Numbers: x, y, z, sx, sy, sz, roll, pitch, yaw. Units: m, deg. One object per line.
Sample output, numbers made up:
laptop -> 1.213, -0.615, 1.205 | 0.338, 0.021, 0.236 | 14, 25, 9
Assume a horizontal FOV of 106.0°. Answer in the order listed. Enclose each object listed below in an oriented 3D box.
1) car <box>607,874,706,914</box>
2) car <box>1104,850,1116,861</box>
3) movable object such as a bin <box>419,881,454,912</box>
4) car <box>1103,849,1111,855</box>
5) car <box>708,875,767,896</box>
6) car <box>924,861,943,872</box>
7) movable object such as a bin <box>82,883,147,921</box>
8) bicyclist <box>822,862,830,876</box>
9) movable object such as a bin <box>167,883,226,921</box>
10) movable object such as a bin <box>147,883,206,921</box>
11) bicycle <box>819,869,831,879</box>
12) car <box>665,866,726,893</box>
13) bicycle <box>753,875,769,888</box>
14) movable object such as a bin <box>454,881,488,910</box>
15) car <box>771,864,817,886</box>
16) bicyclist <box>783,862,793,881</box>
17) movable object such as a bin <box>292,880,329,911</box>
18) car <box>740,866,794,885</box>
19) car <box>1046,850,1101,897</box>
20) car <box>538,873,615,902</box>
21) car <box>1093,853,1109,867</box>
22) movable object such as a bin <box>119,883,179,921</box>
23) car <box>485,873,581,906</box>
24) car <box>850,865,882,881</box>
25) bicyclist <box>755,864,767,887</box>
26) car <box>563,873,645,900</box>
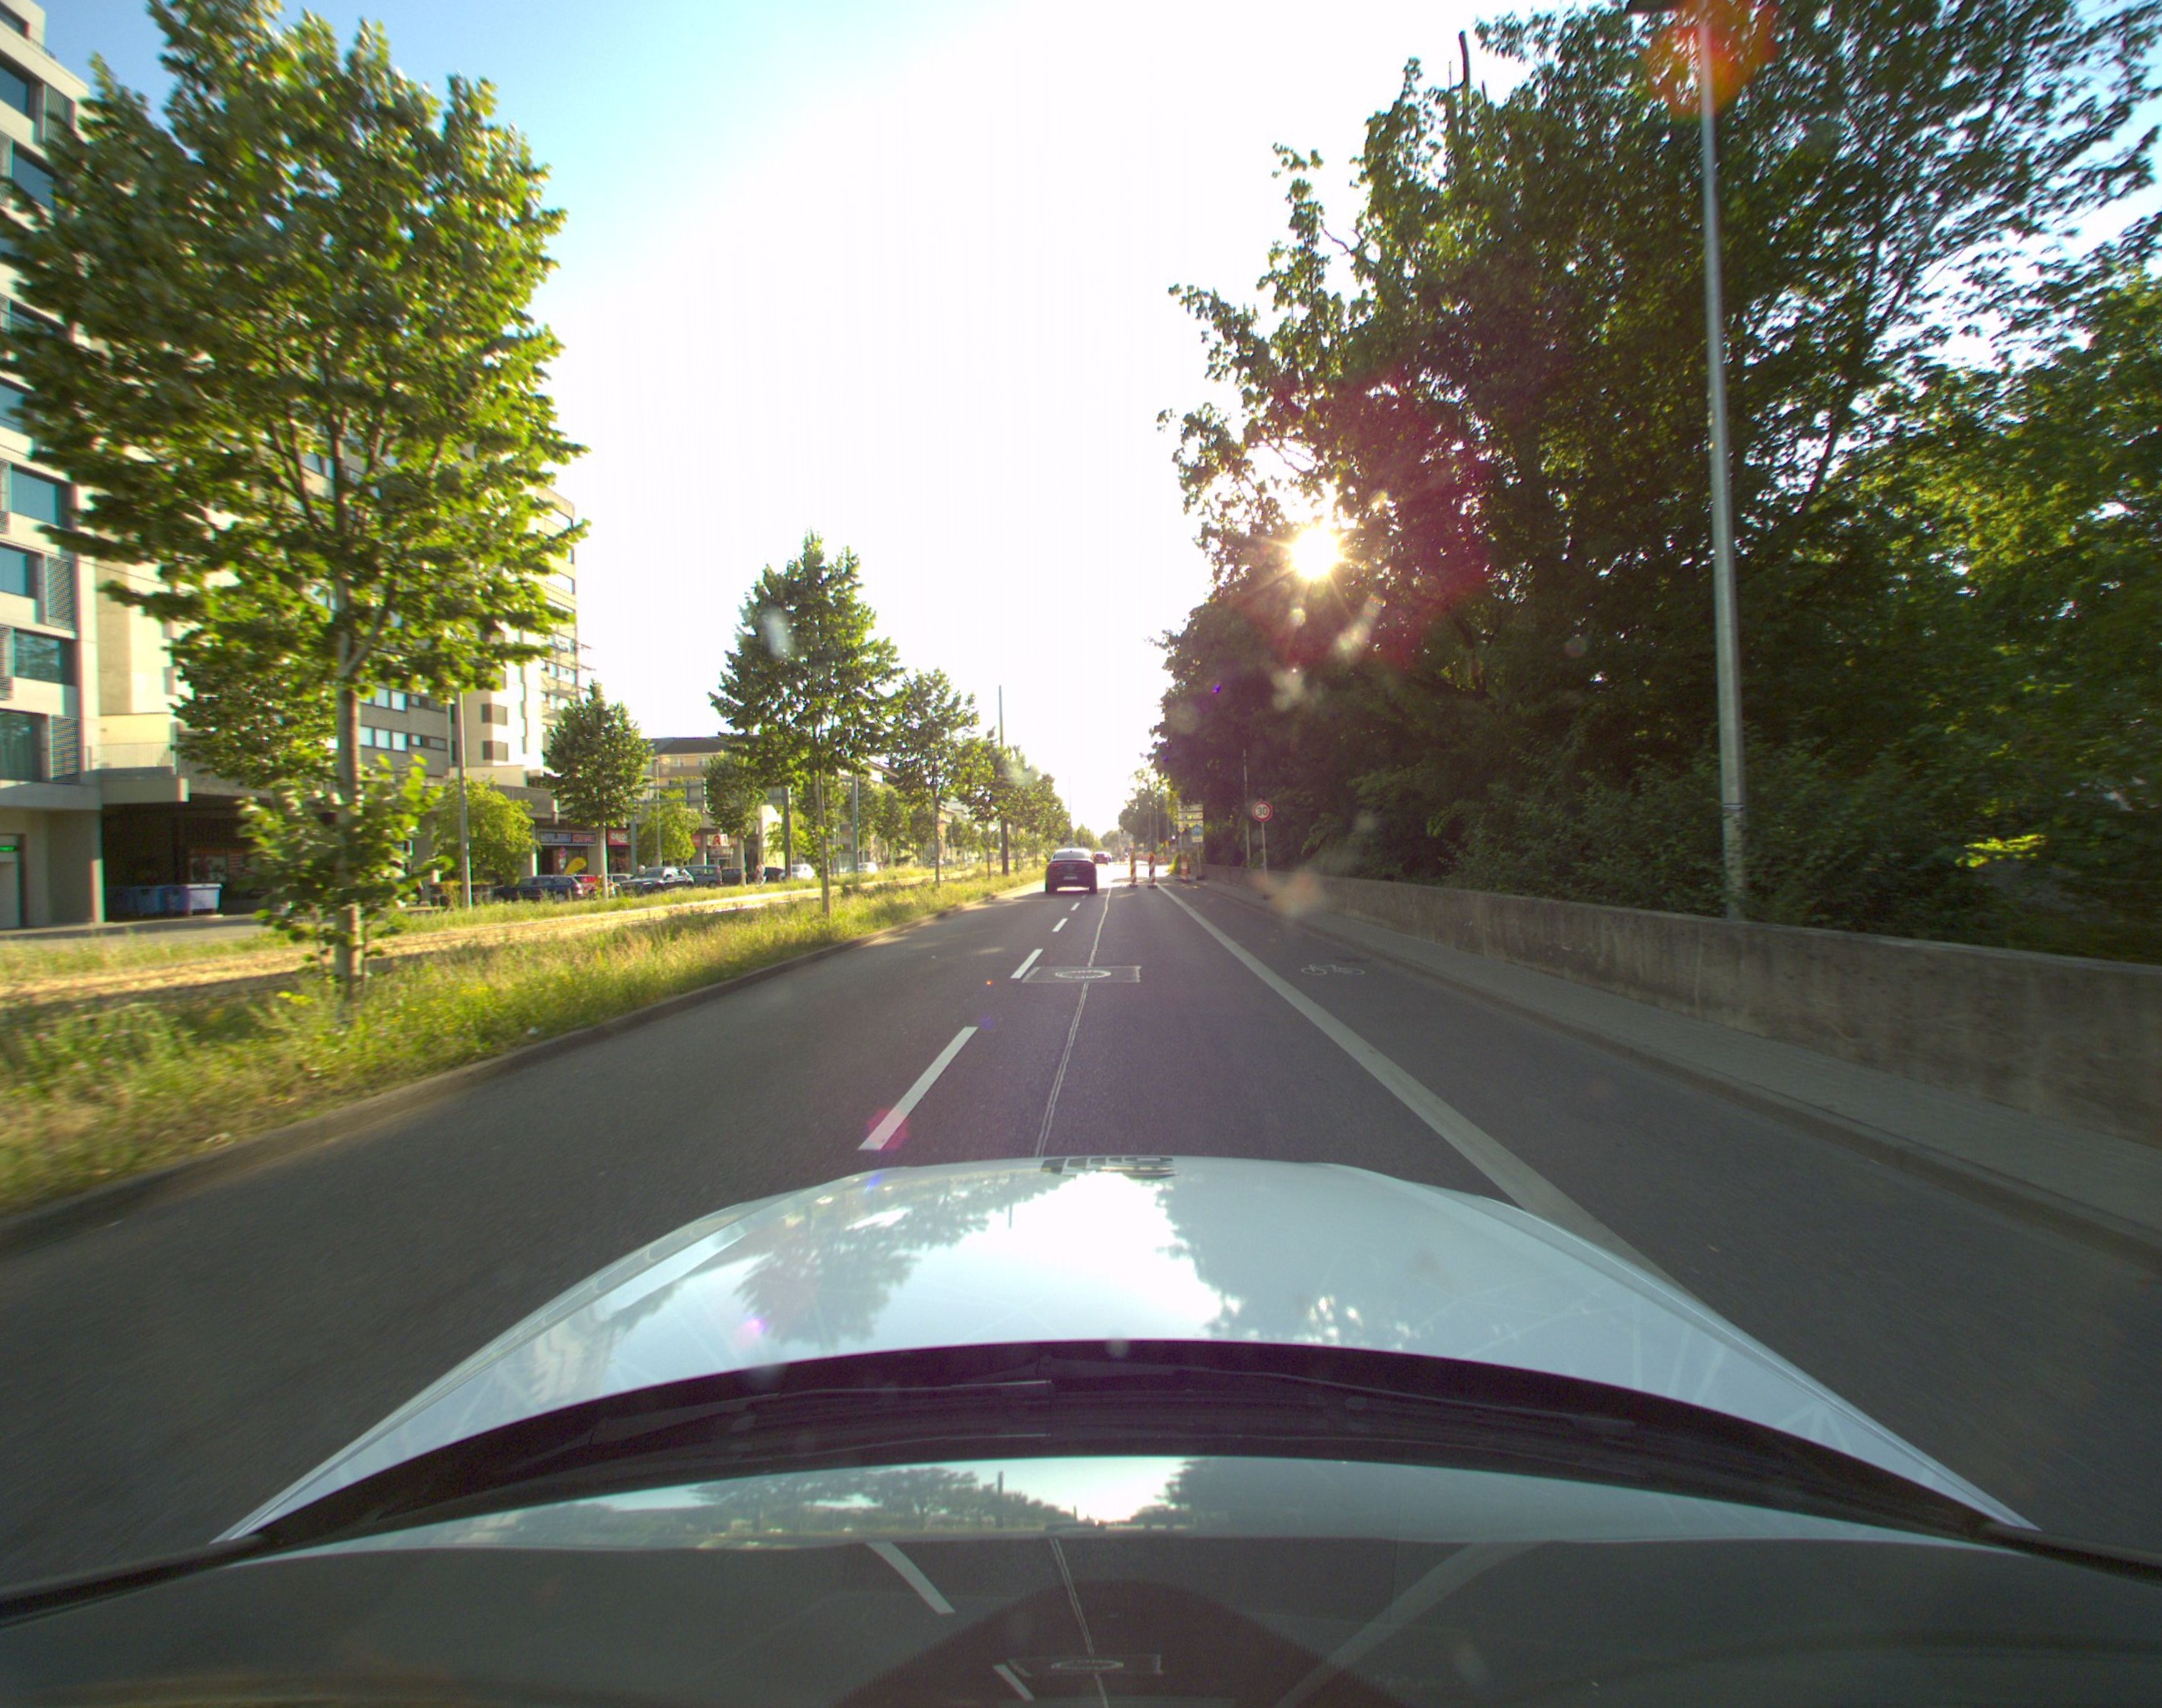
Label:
car -> -20.722, 1.912, 40.040 | 1.877, 1.689, 5.095 | -1, 0, 4
car -> 4.411, 0.266, 124.260 | 1.760, 1.604, 3.774 | -2, 0, 2
movable object such as a bin -> -30.046, 1.974, 37.976 | 0.851, 1.357, 0.944 | -2, 0, 17
car -> 6.594, -0.547, 204.834 | 1.878, 1.580, 4.002 | -1, 1, 2
car -> -28.191, 2.575, 66.916 | 1.975, 1.574, 4.024 | -1, 0, 44
car -> -19.805, 1.710, 109.550 | 1.927, 1.397, 3.687 | -2, 0, 0
movable object such as a bin -> -39.816, 1.955, 33.568 | 0.937, 1.440, 1.404 | -2, 0, 3
bicyclist -> -24.715, 1.477, 78.890 | 0.590, 1.355, 0.759 | -1, 0, -1
movable object such as a bin -> -36.527, 1.959, 33.650 | 0.797, 1.440, 1.404 | -2, 0, 3
movable object such as a bin -> -37.395, 1.968, 33.680 | 0.797, 1.440, 1.404 | -2, 0, 3
bicycle -> -24.729, 1.930, 78.804 | 0.605, 0.963, 1.717 | -1, 0, 0
car -> -28.462, 1.842, 60.197 | 3.776, 1.829, 1.804 | -1, 0, -38
bicycle -> -25.343, 2.149, 64.474 | 0.542, 0.993, 1.711 | -1, 0, 0
movable object such as a bin -> -28.650, 1.959, 38.251 | 0.851, 1.280, 0.944 | -2, 0, 17
car -> -22.220, 1.614, 63.138 | 1.877, 1.514, 4.005 | -1, 0, 4
bicyclist -> -24.715, 1.462, 68.592 | 0.549, 1.544, 0.683 | -1, 0, 3
movable object such as a bin -> -36.024, 1.916, 38.078 | 0.818, 1.371, 0.869 | -2, 0, 2
car -> -27.662, 1.886, 71.743 | 4.020, 1.563, 1.977 | -1, 0, -40
car -> -0.363, 0.724, 32.375 | 1.989, 1.734, 3.995 | -1, 0, -3
car -> -29.083, 1.892, 46.992 | 3.643, 1.523, 1.602 | 0, -1, -39
car -> 2.503, 0.765, 100.069 | 1.878, 1.580, 4.002 | -1, 1, 2
movable object such as a bin -> -38.544, 1.981, 33.692 | 0.797, 1.440, 1.404 | -2, 0, 3
car -> -29.285, 1.877, 43.584 | 4.116, 1.601, 1.730 | 1, 0, -39
car -> -21.671, 1.892, 82.331 | 1.877, 1.514, 4.005 | -1, 0, 4
bicyclist -> -25.345, 1.735, 64.504 | 0.538, 1.788, 0.858 | -1, 0, 0
car -> -29.210, 1.957, 49.947 | 1.764, 1.453, 4.024 | -1, 0, 44
